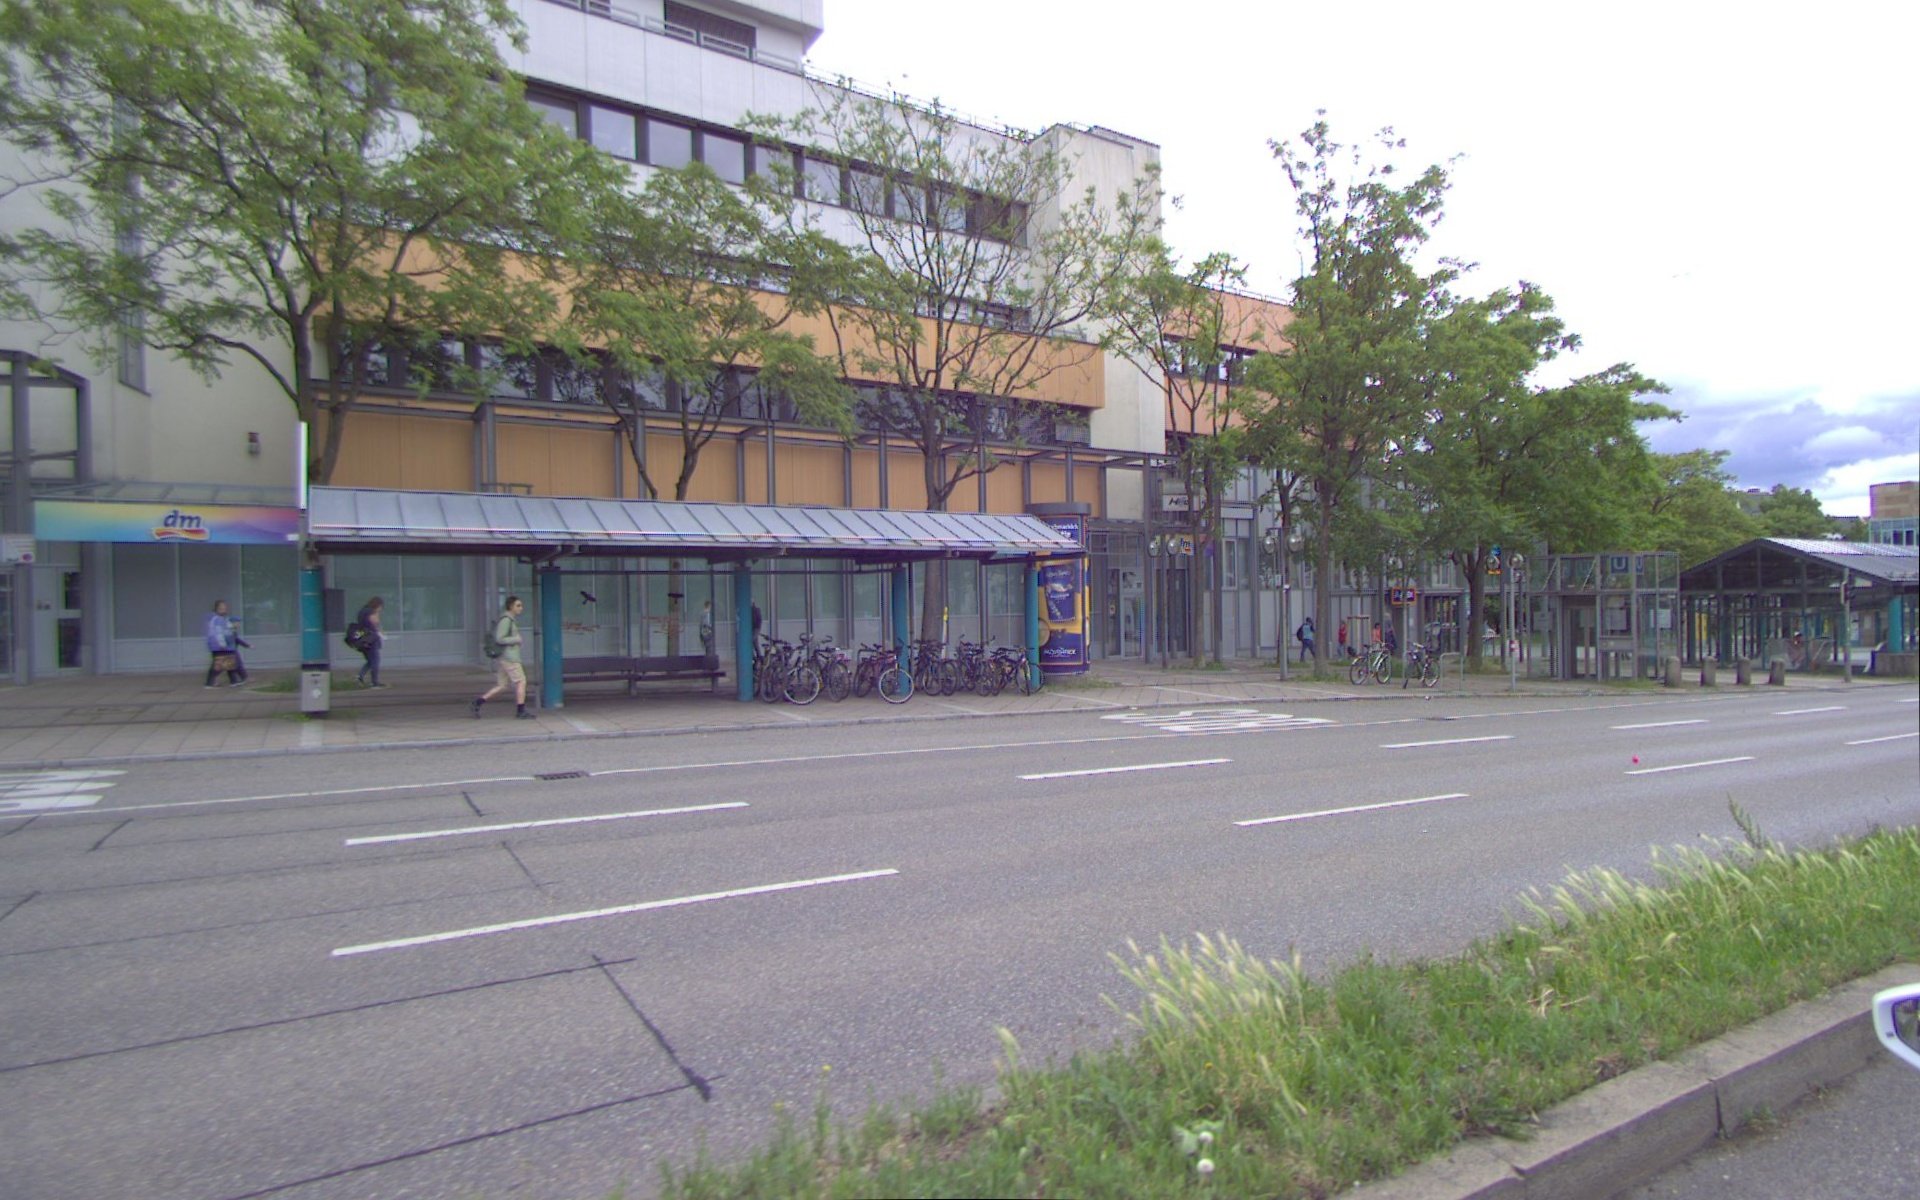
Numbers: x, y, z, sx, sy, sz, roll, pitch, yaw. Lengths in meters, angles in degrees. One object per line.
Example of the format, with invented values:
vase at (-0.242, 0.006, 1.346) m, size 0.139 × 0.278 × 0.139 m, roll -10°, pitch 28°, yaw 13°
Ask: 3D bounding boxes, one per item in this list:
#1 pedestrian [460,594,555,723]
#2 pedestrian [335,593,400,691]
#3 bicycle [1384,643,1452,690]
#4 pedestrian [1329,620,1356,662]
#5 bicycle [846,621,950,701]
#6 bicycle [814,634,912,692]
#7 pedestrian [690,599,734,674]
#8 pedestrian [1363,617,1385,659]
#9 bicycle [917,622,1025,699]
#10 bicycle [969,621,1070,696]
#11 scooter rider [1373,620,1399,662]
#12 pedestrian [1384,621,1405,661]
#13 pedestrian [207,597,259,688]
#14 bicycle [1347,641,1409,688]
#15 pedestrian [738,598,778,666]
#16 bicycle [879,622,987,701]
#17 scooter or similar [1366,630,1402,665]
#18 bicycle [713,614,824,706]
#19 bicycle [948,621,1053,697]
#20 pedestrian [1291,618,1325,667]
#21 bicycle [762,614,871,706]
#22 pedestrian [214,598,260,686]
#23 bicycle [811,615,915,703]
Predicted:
pedestrian at (-6.781, 0.851, 15.048) m, size 1.199 × 1.847 × 0.700 m, roll 2°, pitch 0°, yaw -30°
pedestrian at (-10.811, 0.746, 18.353) m, size 0.772 × 1.739 × 0.775 m, roll 1°, pitch 1°, yaw -9°
bicycle at (11.480, 1.637, 25.165) m, size 1.920 × 1.098 × 0.823 m, roll 1°, pitch -2°, yaw -41°
pedestrian at (14.758, 1.579, 38.760) m, size 0.818 × 1.607 × 0.629 m, roll 1°, pitch -2°, yaw -36°
bicycle at (-1.332, 1.209, 20.688) m, size 0.797 × 1.526 × 2.881 m, roll 1°, pitch -2°, yaw -34°
bicycle at (-2.095, 1.287, 21.182) m, size 0.797 × 1.127 × 2.881 m, roll 1°, pitch -2°, yaw -34°
pedestrian at (-5.926, 0.854, 23.962) m, size 0.782 × 1.739 × 0.765 m, roll 1°, pitch 1°, yaw -35°
pedestrian at (17.186, 1.576, 41.734) m, size 0.673 × 1.750 × 0.561 m, roll 1°, pitch -1°, yaw -35°
bicycle at (0.179, 1.225, 21.233) m, size 0.770 × 1.526 × 2.881 m, roll 1°, pitch -2°, yaw -34°
bicycle at (1.252, 1.237, 22.043) m, size 0.592 × 1.526 × 2.881 m, roll 1°, pitch -1°, yaw -34°
scooter rider at (16.153, 1.535, 38.072) m, size 0.697 × 1.566 × 0.523 m, roll 1°, pitch 1°, yaw -24°
pedestrian at (17.810, 1.686, 41.193) m, size 0.673 × 1.610 × 0.513 m, roll 1°, pitch -1°, yaw -35°
pedestrian at (-13.196, 0.763, 18.252) m, size 0.699 × 1.605 × 0.662 m, roll 1°, pitch 1°, yaw -32°
bicycle at (10.865, 1.649, 26.083) m, size 1.941 × 1.151 × 0.707 m, roll 1°, pitch -2°, yaw -42°
pedestrian at (-5.380, 0.840, 26.761) m, size 0.782 × 1.739 × 0.764 m, roll 1°, pitch 1°, yaw -37°
bicycle at (-0.607, 1.217, 20.738) m, size 0.797 × 1.526 × 2.881 m, roll 1°, pitch -2°, yaw -34°
scooter or similar at (16.062, 1.779, 38.030) m, size 1.270 × 1.284 × 0.479 m, roll 1°, pitch 1°, yaw -24°
bicycle at (-3.641, 1.054, 18.848) m, size 0.962 × 1.527 × 2.880 m, roll 1°, pitch 0°, yaw -34°
bicycle at (0.830, 1.233, 21.727) m, size 0.693 × 1.526 × 2.881 m, roll 1°, pitch -2°, yaw -34°
pedestrian at (12.638, 1.535, 36.503) m, size 0.878 × 1.739 × 0.765 m, roll 1°, pitch 1°, yaw -35°
bicycle at (-2.823, 1.092, 19.374) m, size 0.882 × 1.527 × 2.880 m, roll 1°, pitch 1°, yaw -34°
pedestrian at (-13.578, 0.775, 18.873) m, size 0.615 × 1.621 × 0.629 m, roll 1°, pitch 1°, yaw -30°
bicycle at (-1.977, 1.113, 19.921) m, size 0.803 × 1.527 × 2.882 m, roll 1°, pitch 1°, yaw -33°
